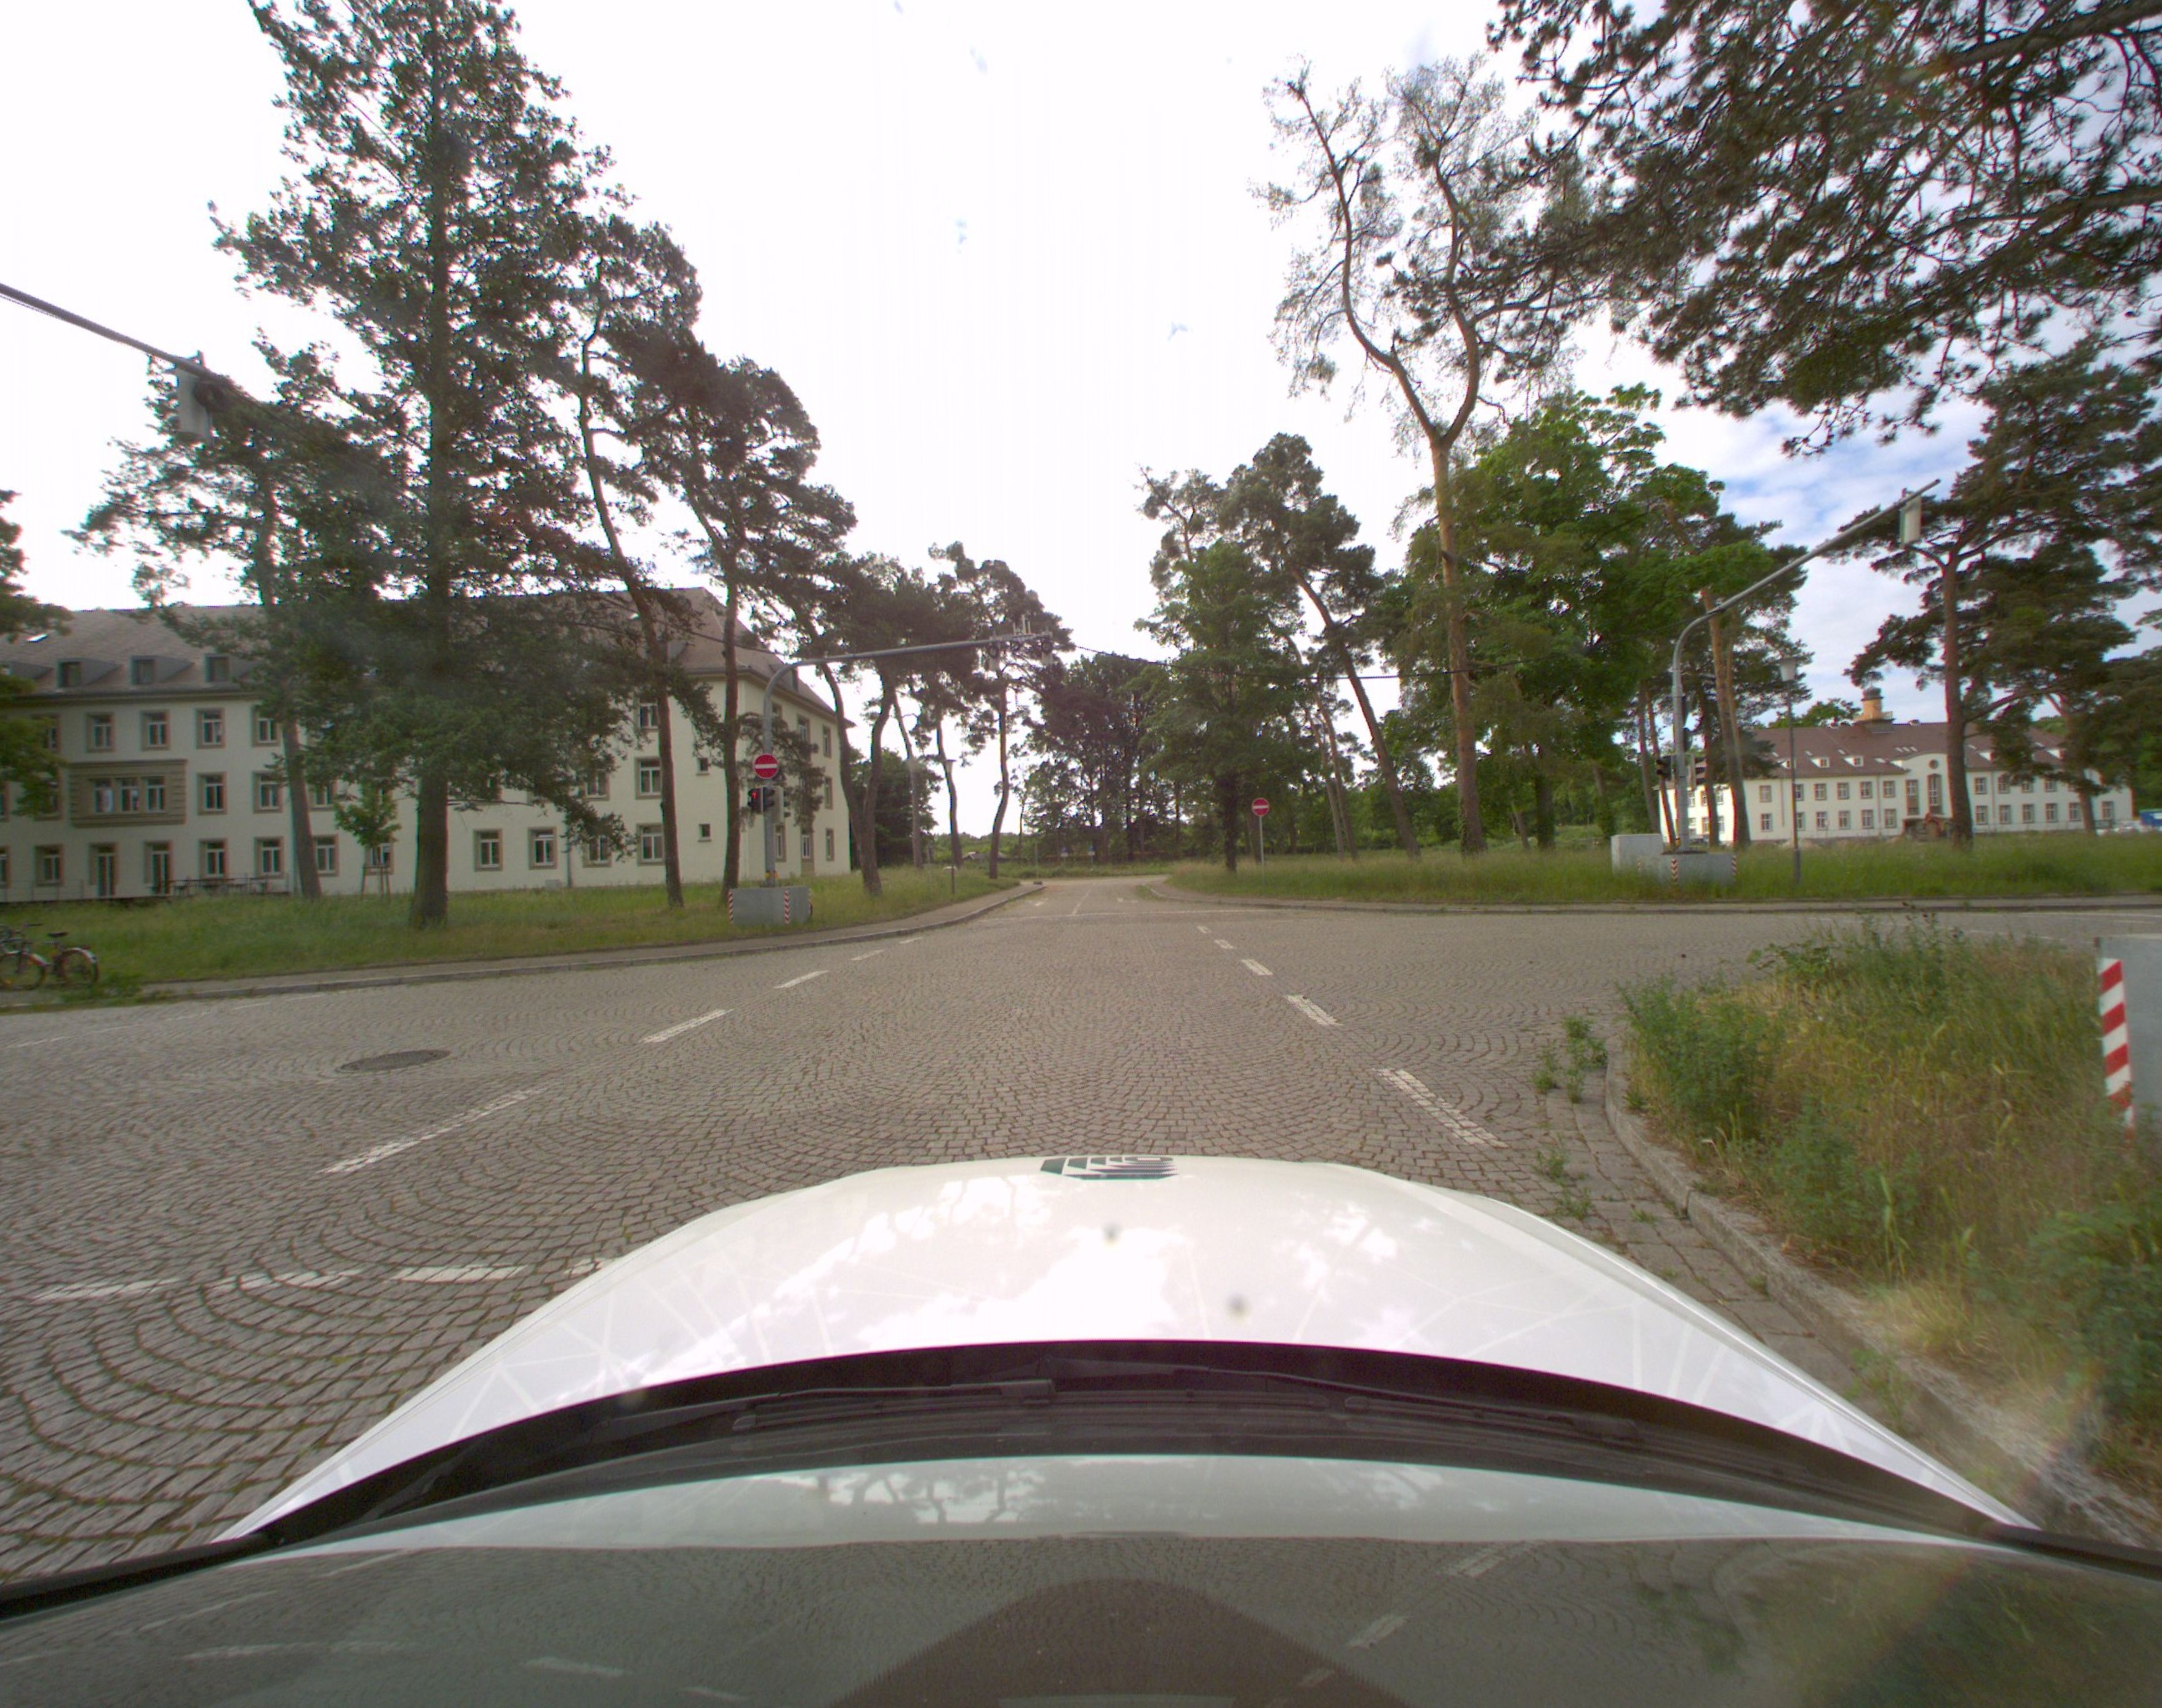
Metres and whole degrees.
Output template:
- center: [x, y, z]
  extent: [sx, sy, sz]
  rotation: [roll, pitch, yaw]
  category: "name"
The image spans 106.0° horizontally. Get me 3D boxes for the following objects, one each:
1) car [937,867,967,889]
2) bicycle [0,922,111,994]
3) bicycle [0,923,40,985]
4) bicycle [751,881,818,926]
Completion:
- center: [-11.179, 2.097, 71.001]
  extent: [1.987, 1.846, 3.998]
  rotation: [0, -1, -1]
  category: "car"
- center: [-16.886, 1.696, 13.283]
  extent: [1.460, 1.065, 0.516]
  rotation: [-3, -1, 0]
  category: "bicycle"
- center: [-19.894, 1.843, 14.556]
  extent: [0.513, 1.079, 1.585]
  rotation: [-2, -1, -1]
  category: "bicycle"
- center: [-7.564, 1.260, 20.812]
  extent: [1.460, 1.065, 0.516]
  rotation: [-3, 0, 0]
  category: "bicycle"
